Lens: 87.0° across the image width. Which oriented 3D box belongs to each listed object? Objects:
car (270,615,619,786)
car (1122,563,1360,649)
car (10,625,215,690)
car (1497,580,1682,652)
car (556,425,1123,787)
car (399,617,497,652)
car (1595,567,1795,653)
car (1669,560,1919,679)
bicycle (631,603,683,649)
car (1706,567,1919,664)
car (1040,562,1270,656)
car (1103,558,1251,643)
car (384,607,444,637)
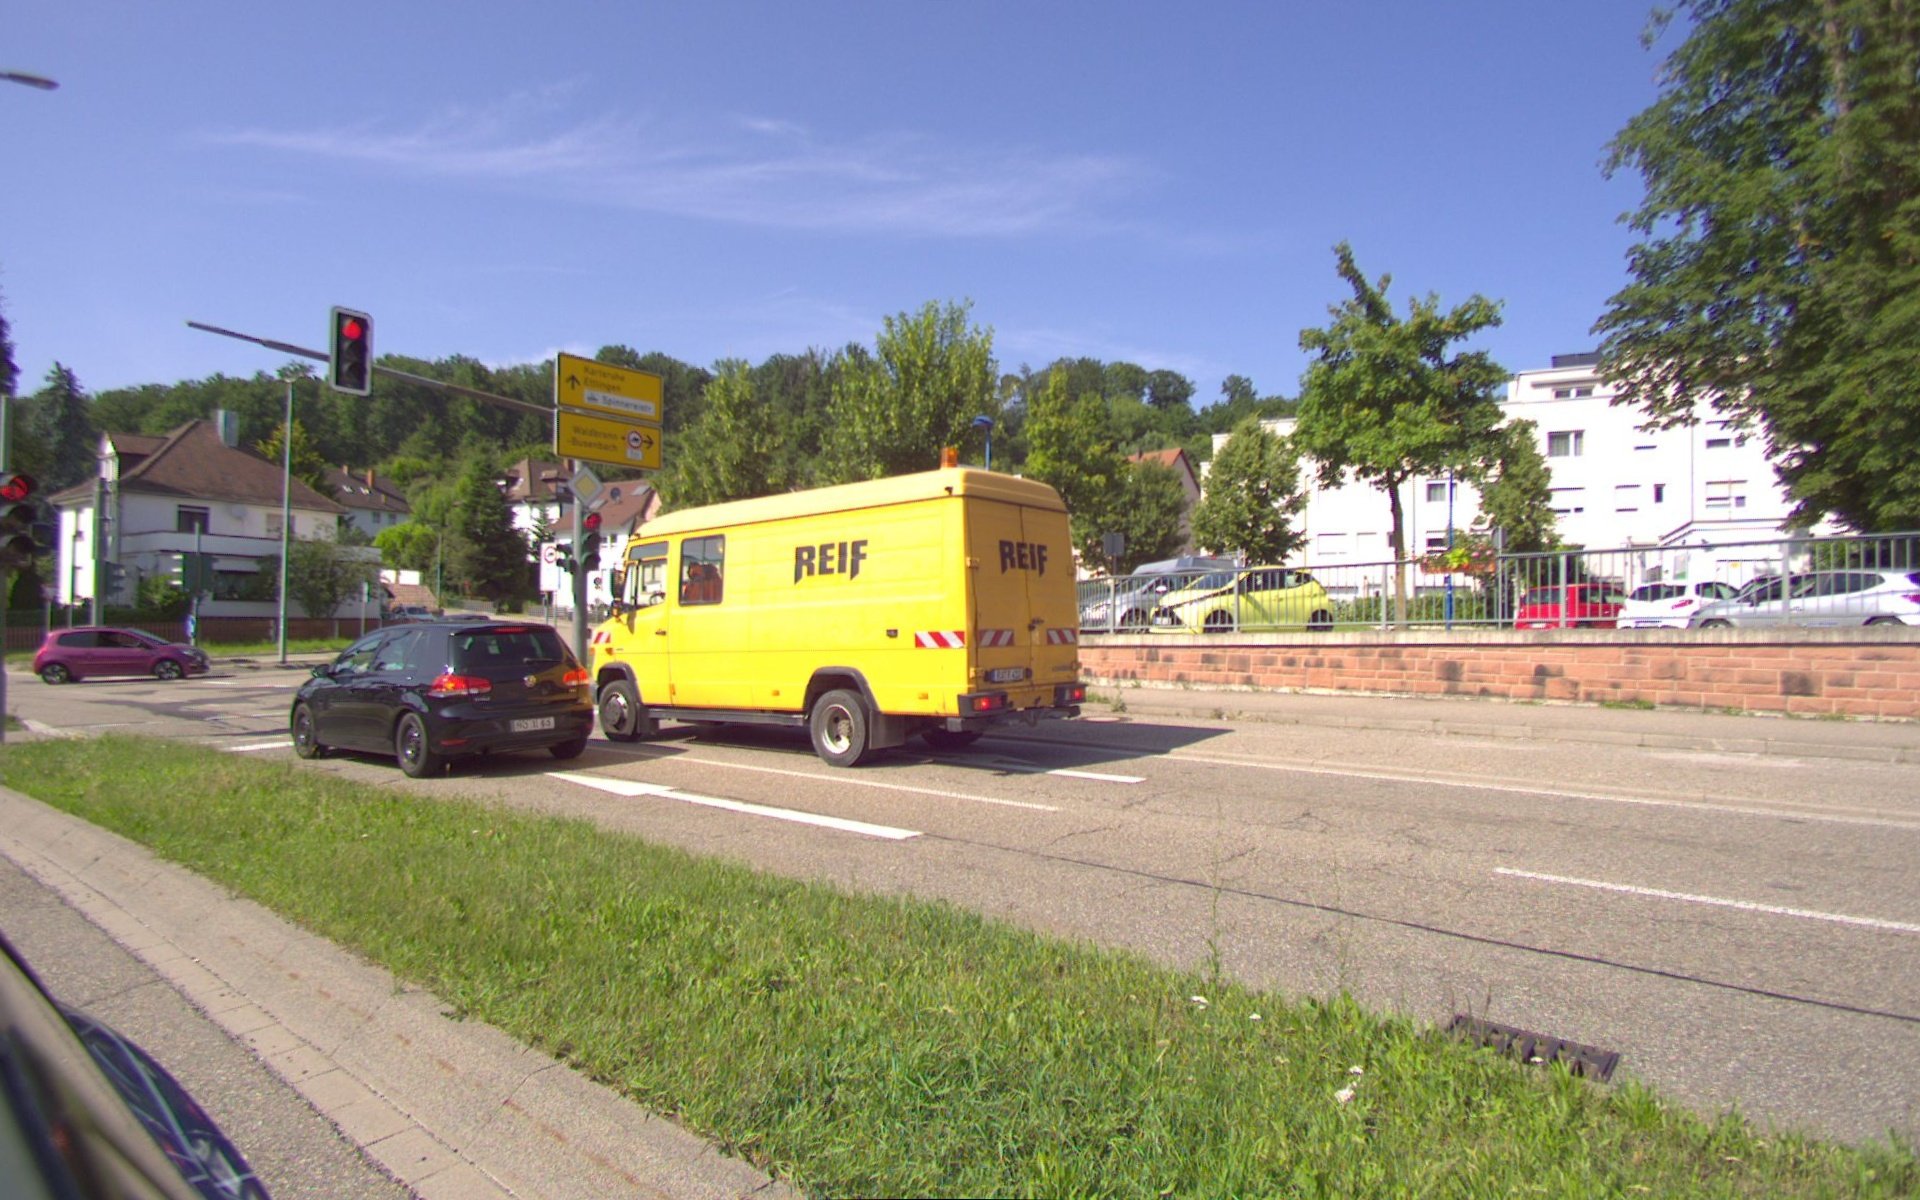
[{"bbox_3d":[-5.518,0.922,10.648,4.037,1.474,1.729,-2,-2,38],"label":"car"},{"bbox_3d":[5.317,0.093,19.231,3.931,1.392,1.920,-2,0,-21],"label":"car"},{"bbox_3d":[-22.395,1.475,26.925,3.886,1.545,1.667,-1,-2,-24],"label":"car"},{"bbox_3d":[15.746,0.381,25.342,3.931,1.571,1.920,-2,-1,-21],"label":"car"},{"bbox_3d":[-1.638,0.090,11.417,6.456,3.033,2.444,-1,0,38],"label":"car"},{"bbox_3d":[-23.986,1.593,47.593,1.955,1.495,4.745,-2,-1,4],"label":"car"},{"bbox_3d":[16.778,0.224,23.110,3.931,1.714,1.920,-3,-1,-24],"label":"car"},{"bbox_3d":[14.869,0.332,17.360,1.888,1.803,4.013,0,-1,-21],"label":"car"},{"bbox_3d":[-9.322,0.803,31.093,1.756,1.265,0.612,-5,1,42],"label":"bicycle"},{"bbox_3d":[17.339,0.274,20.205,3.931,1.684,2.006,-2,-1,-19],"label":"car"},{"bbox_3d":[4.159,0.153,21.678,4.339,1.709,2.064,-3,1,-21],"label":"car"},{"bbox_3d":[6.874,0.062,32.901,2.064,2.462,5.801,-2,0,-16],"label":"car"},{"bbox_3d":[-33.088,1.350,61.274,3.999,1.649,1.914,-3,-1,42],"label":"car"}]
